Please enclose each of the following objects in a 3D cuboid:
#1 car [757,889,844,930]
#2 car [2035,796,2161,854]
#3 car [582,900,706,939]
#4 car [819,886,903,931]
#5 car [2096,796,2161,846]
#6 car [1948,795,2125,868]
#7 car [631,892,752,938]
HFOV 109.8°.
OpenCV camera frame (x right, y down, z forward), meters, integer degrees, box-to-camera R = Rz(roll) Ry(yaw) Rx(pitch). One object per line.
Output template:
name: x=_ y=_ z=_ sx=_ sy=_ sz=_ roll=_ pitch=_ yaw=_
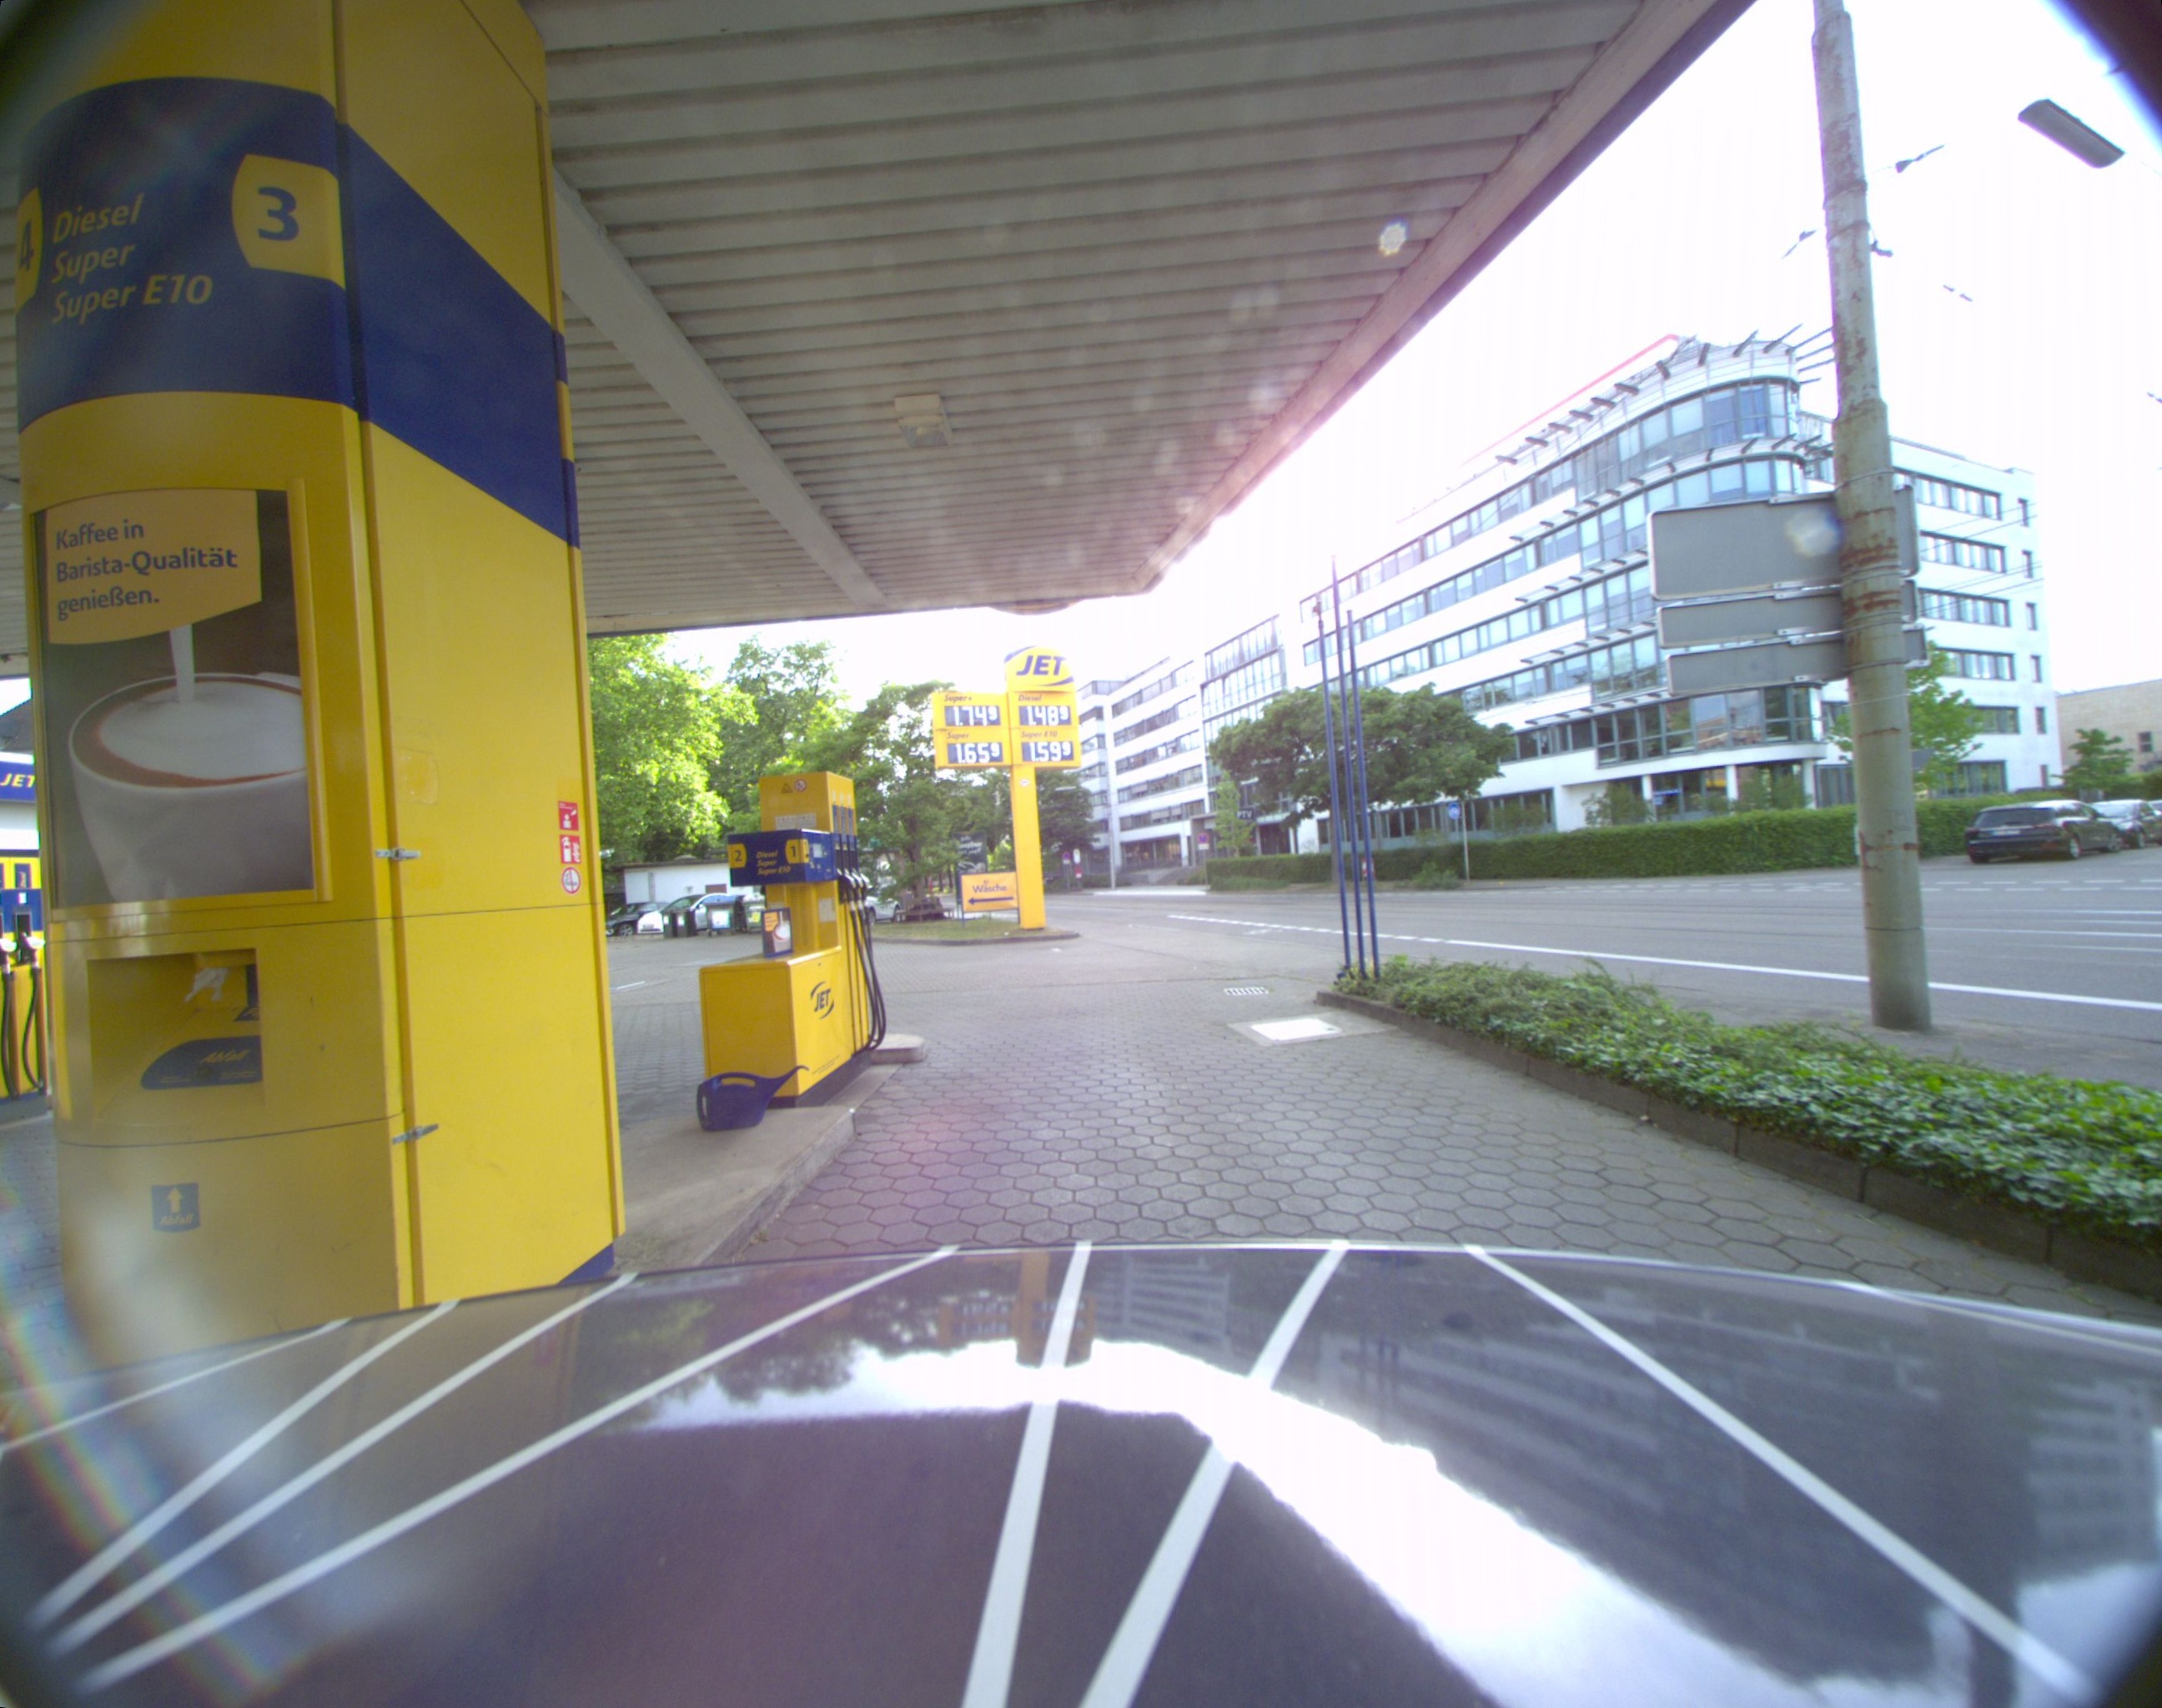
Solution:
car: x=-11.801 y=2.321 z=32.247 sx=1.739 sy=1.500 sz=4.004 roll=-4 pitch=-2 yaw=6
car: x=32.492 y=-0.936 z=24.044 sx=4.109 sy=1.544 sz=1.786 roll=-4 pitch=-1 yaw=-23
car: x=-17.745 y=2.629 z=31.075 sx=1.745 sy=1.269 sz=4.230 roll=-5 pitch=-3 yaw=19
car: x=-8.686 y=2.115 z=30.385 sx=1.739 sy=1.500 sz=4.003 roll=-4 pitch=-2 yaw=6
car: x=37.152 y=-1.230 z=26.082 sx=4.109 sy=1.544 sz=1.786 roll=-4 pitch=-1 yaw=-23
car: x=27.377 y=-0.646 z=21.773 sx=4.438 sy=1.603 sz=1.976 roll=-5 pitch=-1 yaw=-23
car: x=-15.359 y=2.381 z=30.259 sx=1.785 sy=1.514 sz=4.229 roll=-4 pitch=-3 yaw=17
